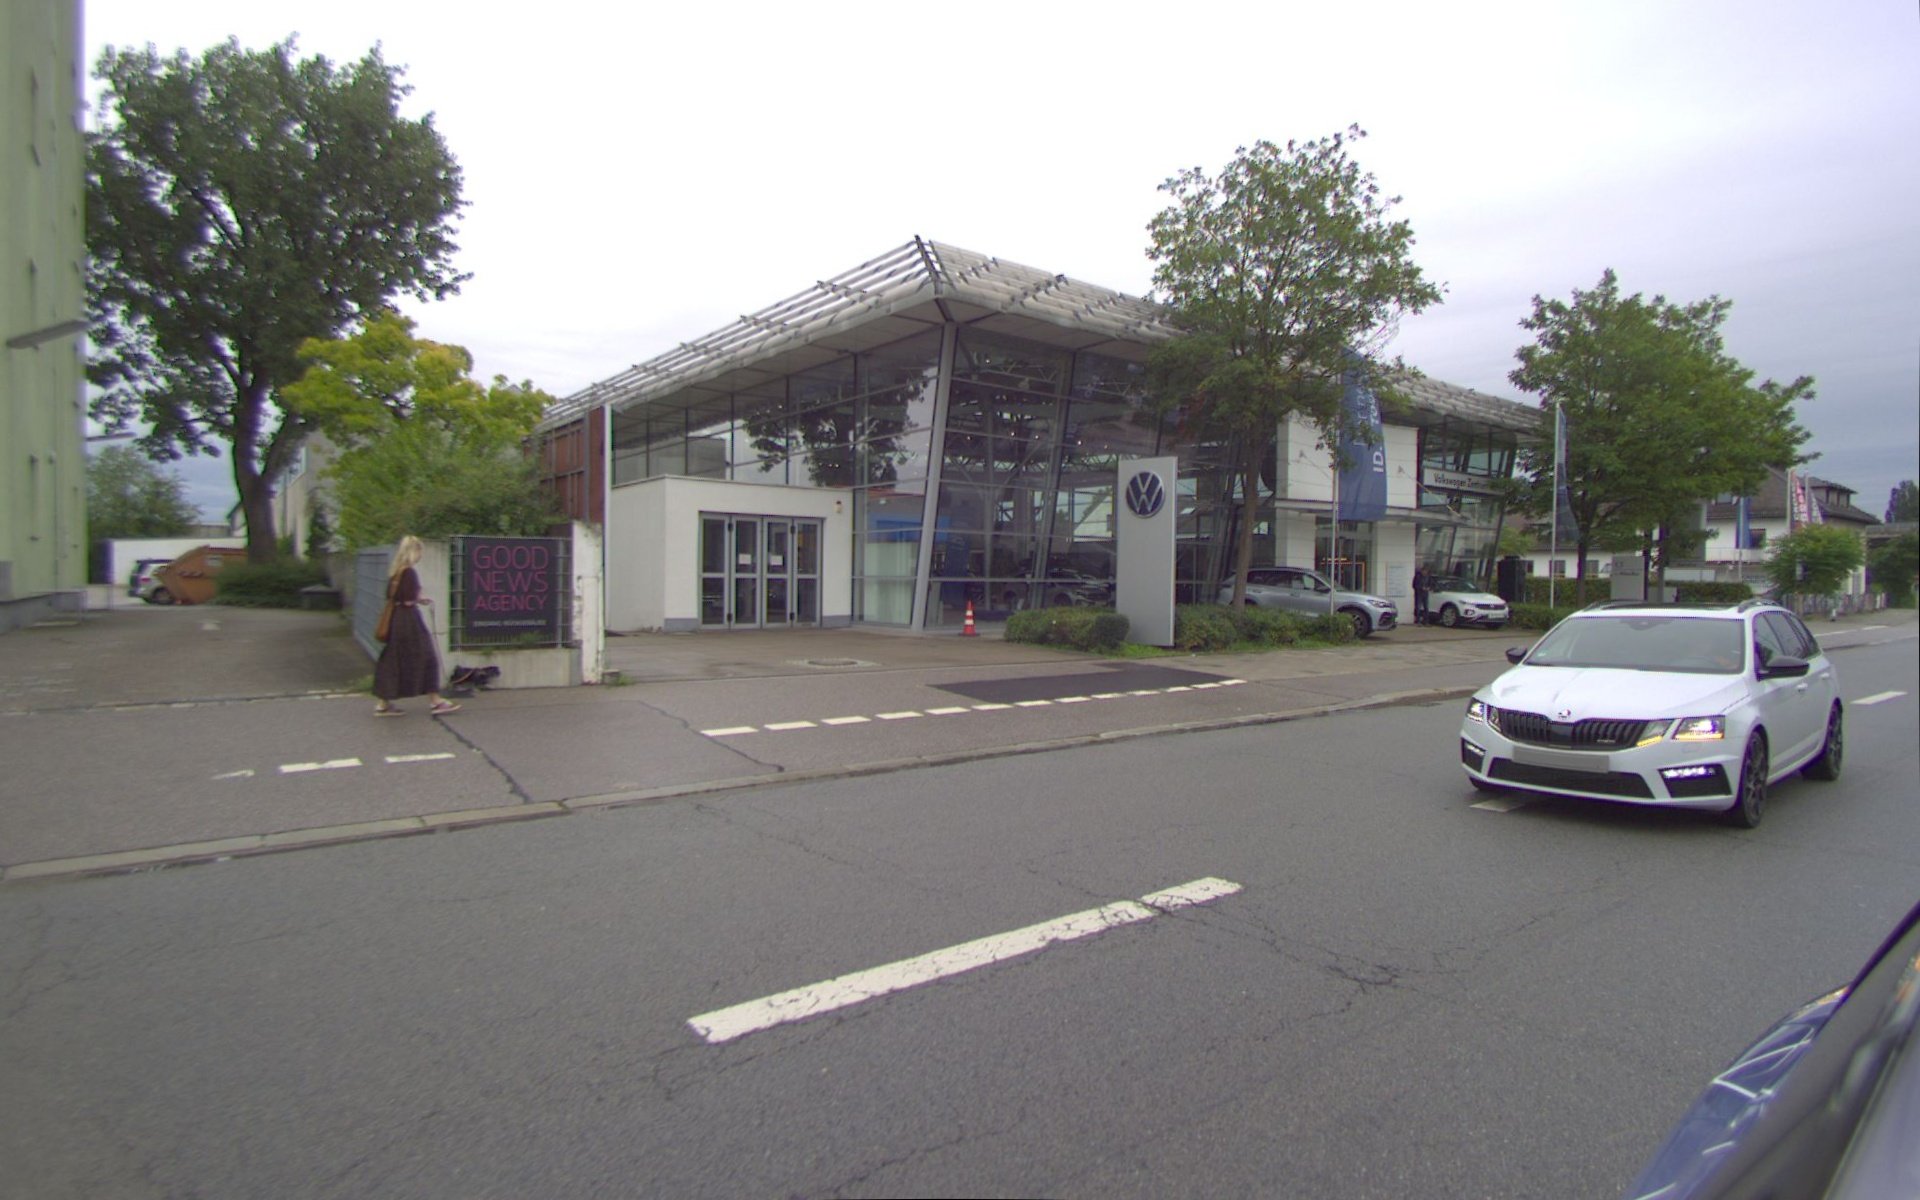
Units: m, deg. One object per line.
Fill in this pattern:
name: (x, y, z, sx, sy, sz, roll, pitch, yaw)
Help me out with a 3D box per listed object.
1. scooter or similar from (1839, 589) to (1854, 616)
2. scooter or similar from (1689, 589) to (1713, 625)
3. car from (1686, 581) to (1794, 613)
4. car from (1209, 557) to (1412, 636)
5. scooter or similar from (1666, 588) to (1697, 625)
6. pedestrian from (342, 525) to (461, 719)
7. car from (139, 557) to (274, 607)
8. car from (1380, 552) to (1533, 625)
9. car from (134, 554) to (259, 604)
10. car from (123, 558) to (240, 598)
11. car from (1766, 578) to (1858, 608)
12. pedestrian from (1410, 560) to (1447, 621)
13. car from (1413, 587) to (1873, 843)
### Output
scooter or similar: (42.915, 0.126, 49.003, 0.396, 1.237, 1.617, 4, 4, 38)
scooter or similar: (26.574, 0.248, 36.276, 0.496, 1.219, 1.408, 5, 5, 42)
car: (39.421, -0.177, 51.209, 1.760, 1.478, 4.025, 0, 2, -38)
car: (8.957, -0.158, 25.959, 4.569, 1.727, 1.986, 3, 4, 32)
scooter or similar: (24.858, 0.238, 34.862, 1.405, 1.219, 0.497, 1, 4, -41)
pedestrian: (-5.400, 0.178, 9.772, 0.879, 1.749, 0.761, 0, 4, -38)
car: (-28.069, -0.680, 37.750, 3.930, 1.771, 1.947, 0, 1, -41)
car: (15.440, -0.423, 31.768, 1.922, 2.038, 4.273, 0, 3, -14)
car: (-30.642, -0.841, 40.645, 3.930, 1.905, 1.947, 0, 1, -41)
car: (-33.483, -0.947, 43.553, 3.930, 1.660, 1.876, 0, 1, -41)
car: (52.839, -0.469, 62.812, 1.893, 1.747, 4.105, 0, 1, -39)
pedestrian: (14.022, -0.283, 30.301, 0.793, 1.798, 0.715, 1, 1, 7)
car: (5.562, 0.655, 7.998, 4.476, 1.466, 1.913, 0, 0, -41)
